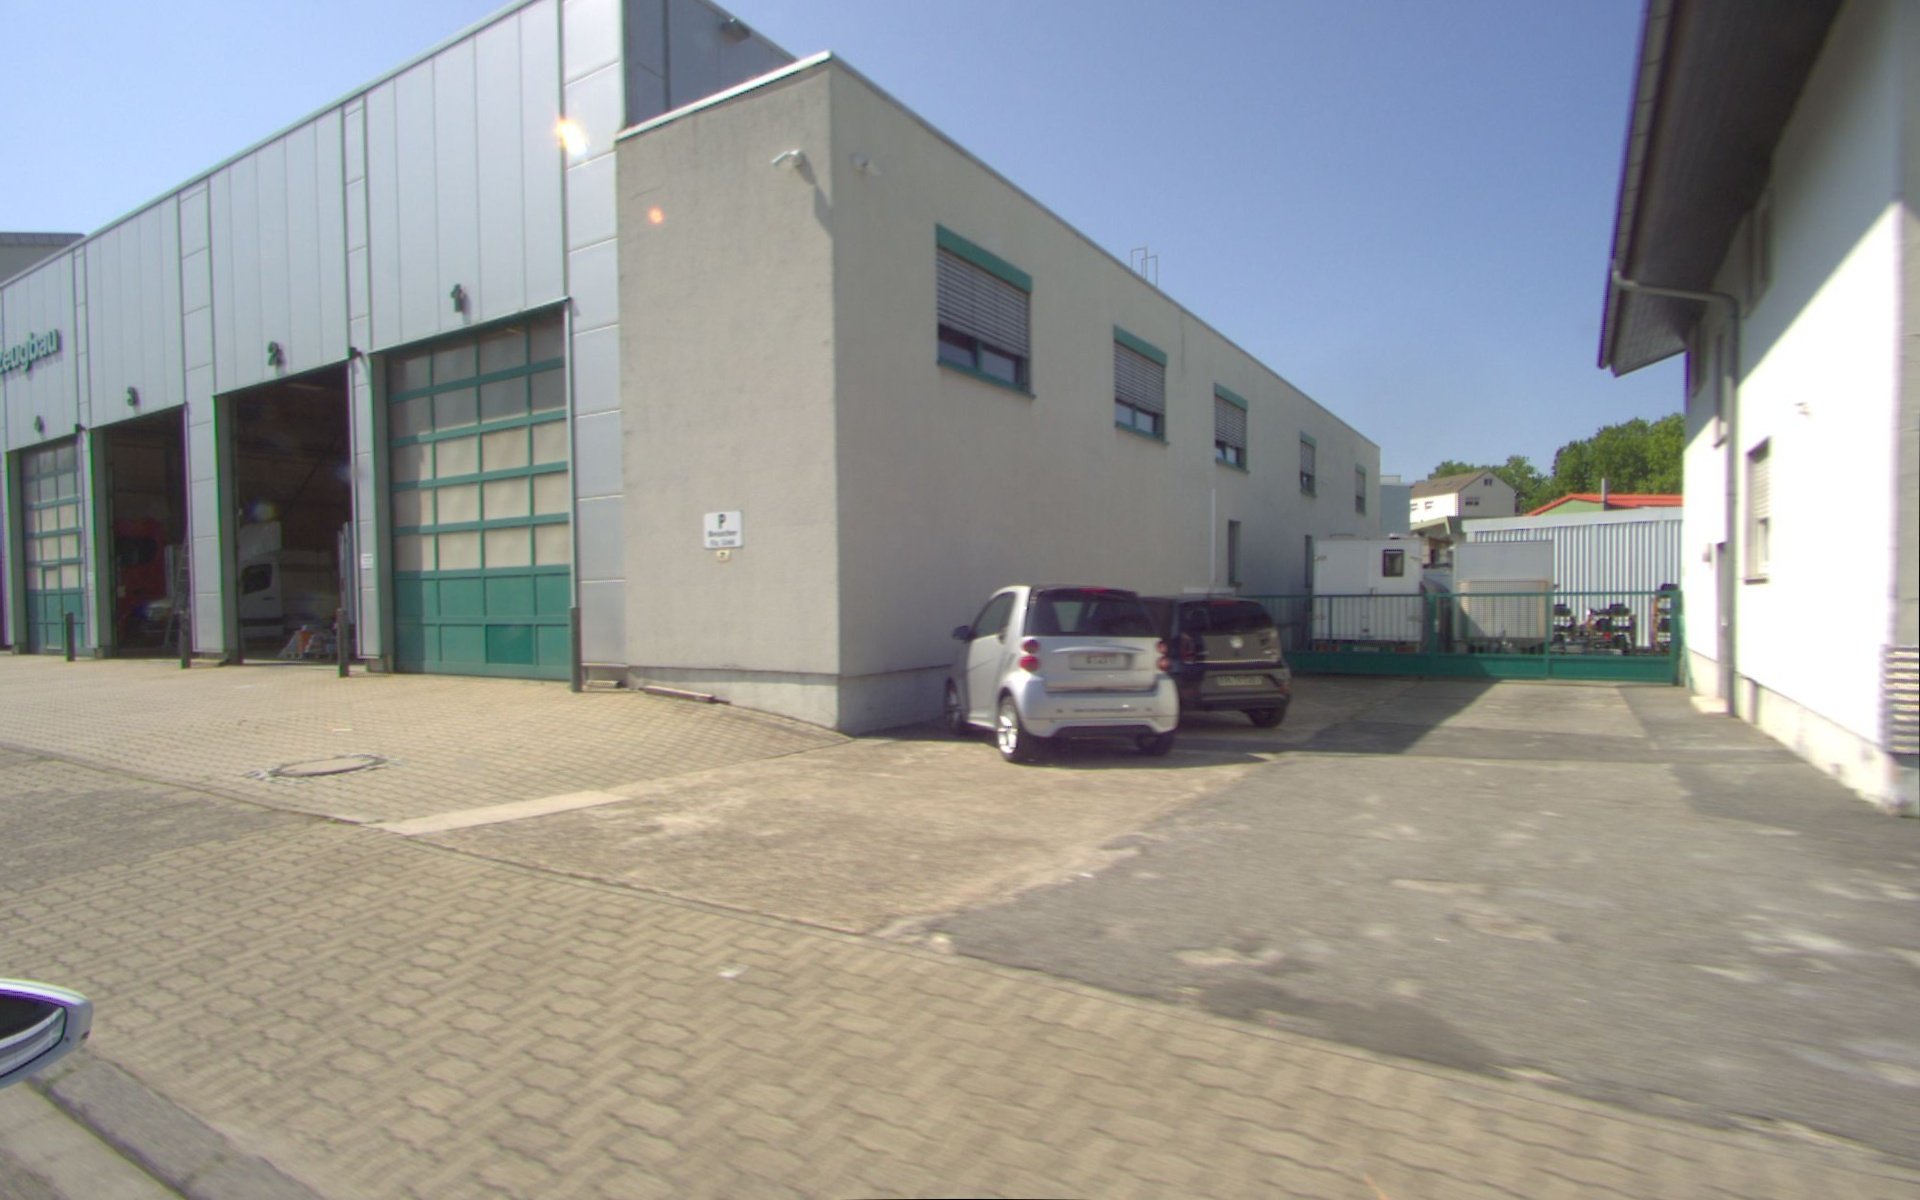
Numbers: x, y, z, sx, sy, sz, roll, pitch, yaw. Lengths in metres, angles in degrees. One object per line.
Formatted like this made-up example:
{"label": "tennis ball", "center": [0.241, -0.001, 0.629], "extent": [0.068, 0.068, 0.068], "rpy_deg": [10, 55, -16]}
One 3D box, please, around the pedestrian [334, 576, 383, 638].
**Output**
{"label": "pedestrian", "center": [-16.116, 0.182, 26.830], "extent": [0.852, 1.642, 0.810], "rpy_deg": [0, 1, 31]}

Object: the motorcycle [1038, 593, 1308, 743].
{"label": "motorcycle", "center": [2.409, 0.685, 12.256], "extent": [1.747, 1.512, 3.602], "rpy_deg": [-1, 1, -16]}

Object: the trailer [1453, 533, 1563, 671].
{"label": "trailer", "center": [12.677, 0.013, 23.362], "extent": [2.015, 2.912, 4.121], "rpy_deg": [1, 1, 27]}

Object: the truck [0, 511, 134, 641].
{"label": "truck", "center": [-28.908, -0.648, 28.746], "extent": [2.723, 3.697, 7.350], "rpy_deg": [0, 3, 26]}

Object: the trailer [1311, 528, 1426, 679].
{"label": "trailer", "center": [8.688, 0.039, 21.619], "extent": [2.011, 2.912, 4.129], "rpy_deg": [1, 1, 19]}

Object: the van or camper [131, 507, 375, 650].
{"label": "van or camper", "center": [-18.128, -0.509, 25.950], "extent": [1.969, 3.332, 4.750], "rpy_deg": [0, 0, 29]}

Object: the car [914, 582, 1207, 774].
{"label": "car", "center": [0.810, 0.625, 10.250], "extent": [1.747, 1.560, 3.695], "rpy_deg": [-1, 1, -16]}
